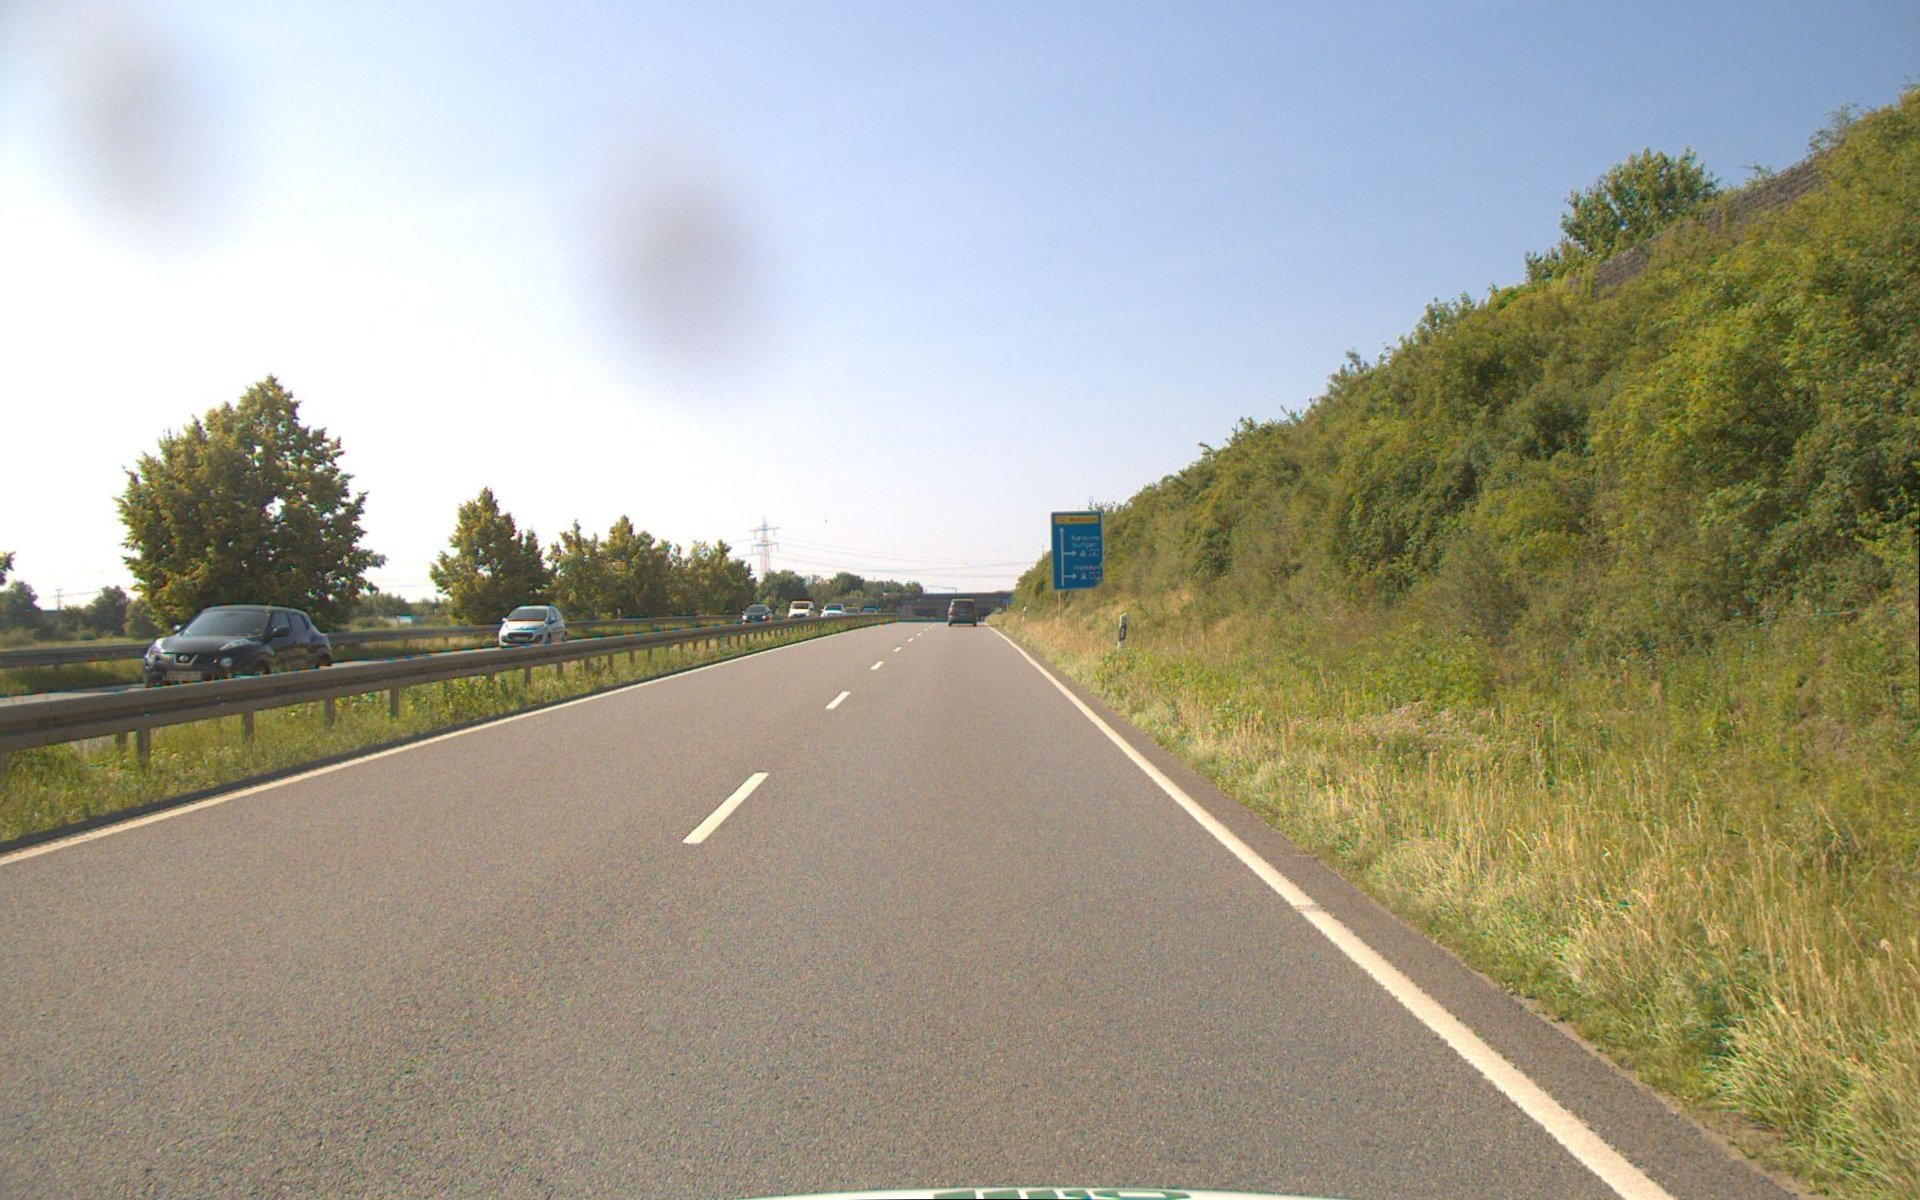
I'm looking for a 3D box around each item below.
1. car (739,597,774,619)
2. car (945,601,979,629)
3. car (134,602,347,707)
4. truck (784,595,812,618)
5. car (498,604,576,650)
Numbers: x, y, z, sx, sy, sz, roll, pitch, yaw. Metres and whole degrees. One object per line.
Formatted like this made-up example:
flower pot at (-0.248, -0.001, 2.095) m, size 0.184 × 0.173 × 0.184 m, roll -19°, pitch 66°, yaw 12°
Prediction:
car at (-13.785, 0.533, 112.431) m, size 1.801 × 1.498 × 4.459 m, roll 0°, pitch 0°, yaw 0°
car at (0.146, 0.953, 101.782) m, size 1.811 × 1.673 × 4.001 m, roll -1°, pitch -1°, yaw 3°
car at (-11.954, 0.852, 27.795) m, size 1.655 × 1.568 × 4.244 m, roll 0°, pitch 0°, yaw 1°
truck at (-13.804, 0.554, 141.213) m, size 1.883 × 1.872 × 5.292 m, roll 0°, pitch 1°, yaw 0°
car at (-14.224, 0.875, 55.796) m, size 1.655 × 1.462 × 3.939 m, roll 0°, pitch 0°, yaw -1°
